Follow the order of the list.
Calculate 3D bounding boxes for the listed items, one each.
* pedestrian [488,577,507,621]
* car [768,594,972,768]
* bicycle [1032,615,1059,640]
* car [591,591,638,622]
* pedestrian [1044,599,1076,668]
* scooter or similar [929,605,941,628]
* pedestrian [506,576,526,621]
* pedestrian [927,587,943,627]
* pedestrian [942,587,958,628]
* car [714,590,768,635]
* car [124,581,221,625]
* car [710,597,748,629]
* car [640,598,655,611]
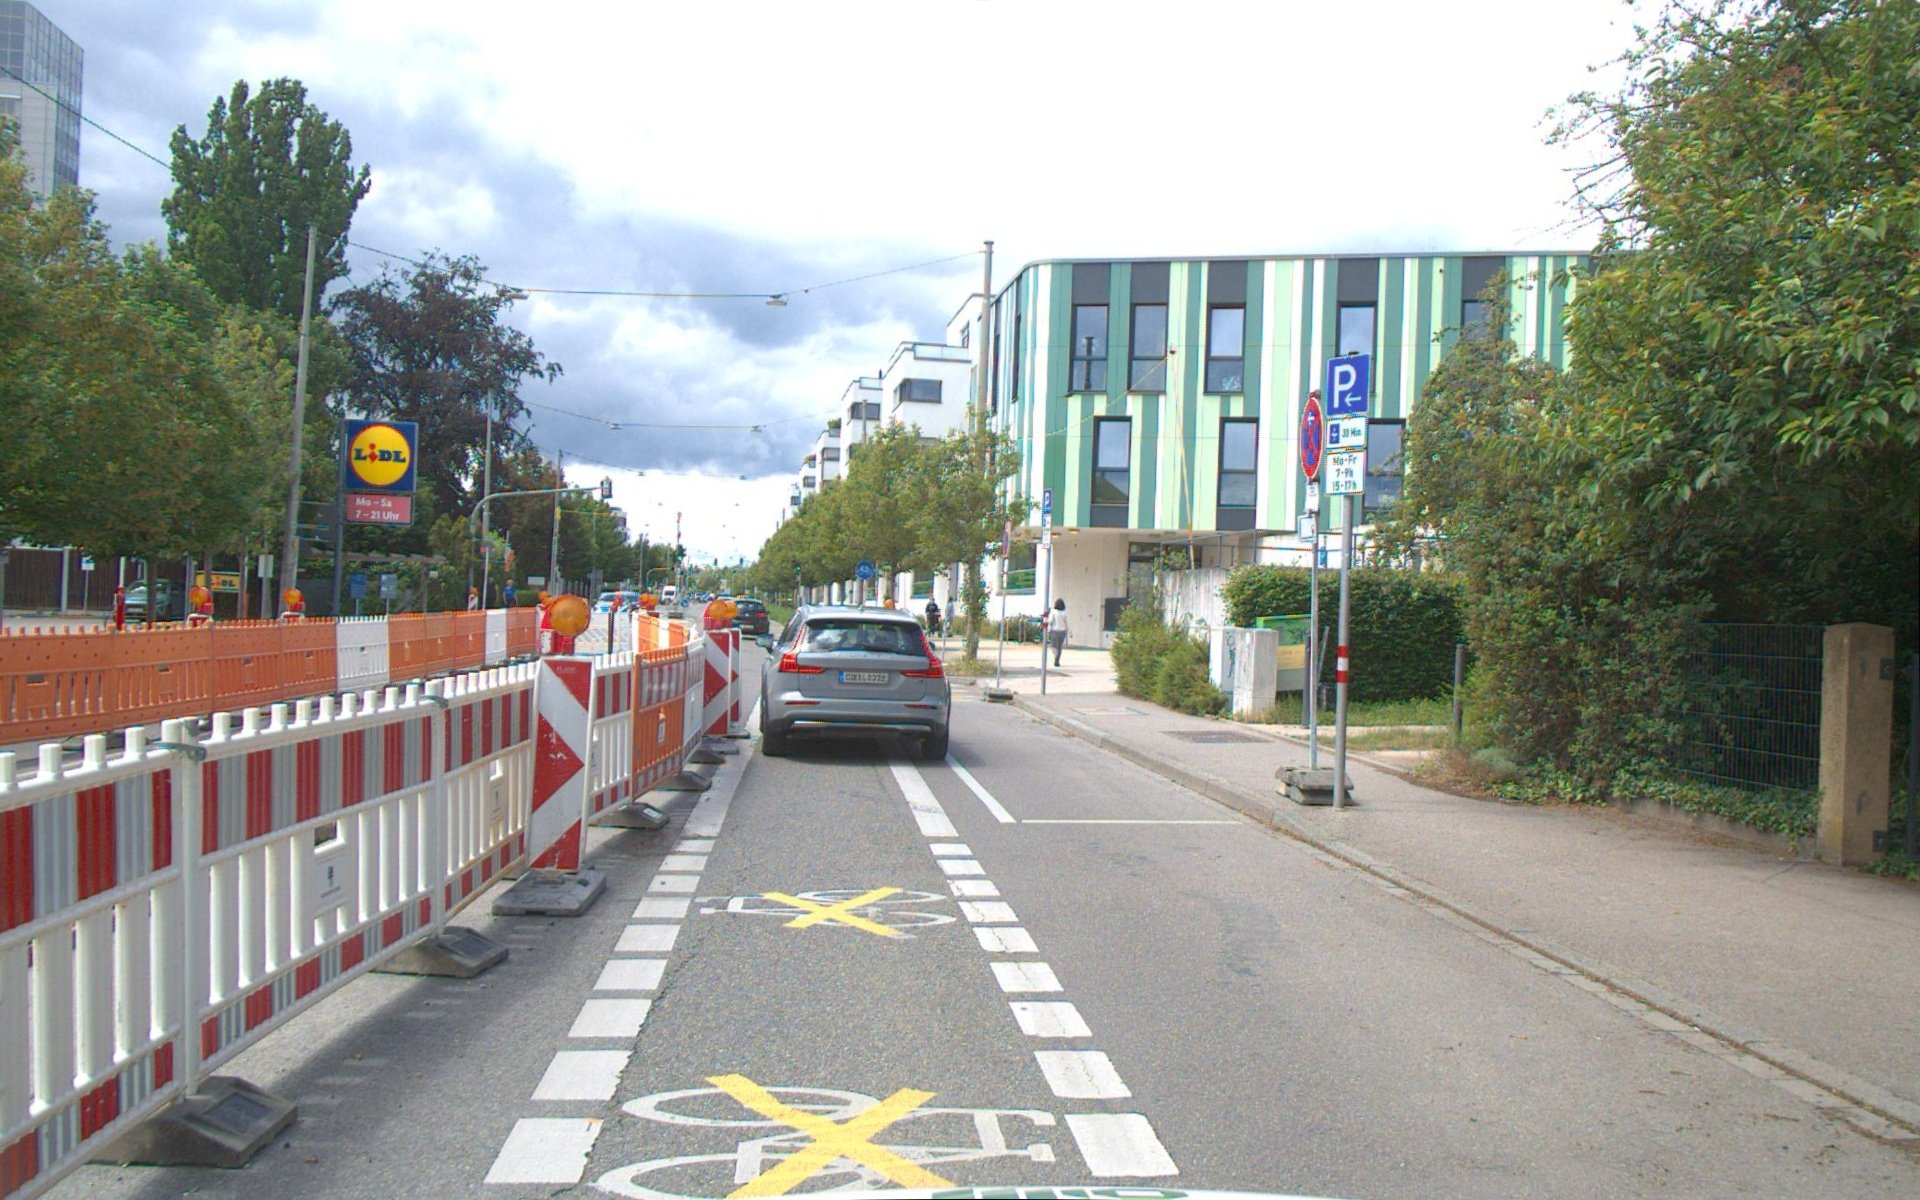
[{"bbox_3d":[-19.983,-0.055,71.396,0.669,1.887,0.705,1,-1,-9],"label":"pedestrian"},{"bbox_3d":[-1.055,0.749,17.317,1.819,1.539,3.994,2,0,-7],"label":"car"},{"bbox_3d":[3.013,0.973,58.457,1.016,0.856,0.302,1,0,-42],"label":"bicycle"},{"bbox_3d":[-17.701,0.308,84.789,1.818,1.539,3.996,1,0,-5],"label":"car"},{"bbox_3d":[2.346,0.781,38.859,0.570,1.579,0.867,1,0,-9],"label":"pedestrian"},{"bbox_3d":[-1.043,0.671,68.478,0.414,0.921,0.680,1,0,-9],"label":"scooter or similar"},{"bbox_3d":[-19.216,-0.062,71.594,0.669,1.887,0.890,1,-1,-8],"label":"pedestrian"},{"bbox_3d":[-1.034,0.293,69.001,0.594,1.684,0.551,1,0,-9],"label":"pedestrian"},{"bbox_3d":[-0.403,0.306,68.371,0.540,1.684,0.606,1,0,-9],"label":"pedestrian"},{"bbox_3d":[-8.077,0.433,60.749,1.820,1.539,3.992,3,0,-9],"label":"car"},{"bbox_3d":[-27.582,0.105,58.029,1.956,1.478,3.992,1,0,-9],"label":"car"},{"bbox_3d":[-12.097,0.673,86.352,1.811,1.539,3.992,3,0,-9],"label":"car"},{"bbox_3d":[-37.983,0.504,201.090,1.630,1.542,3.992,2,0,-9],"label":"car"}]
